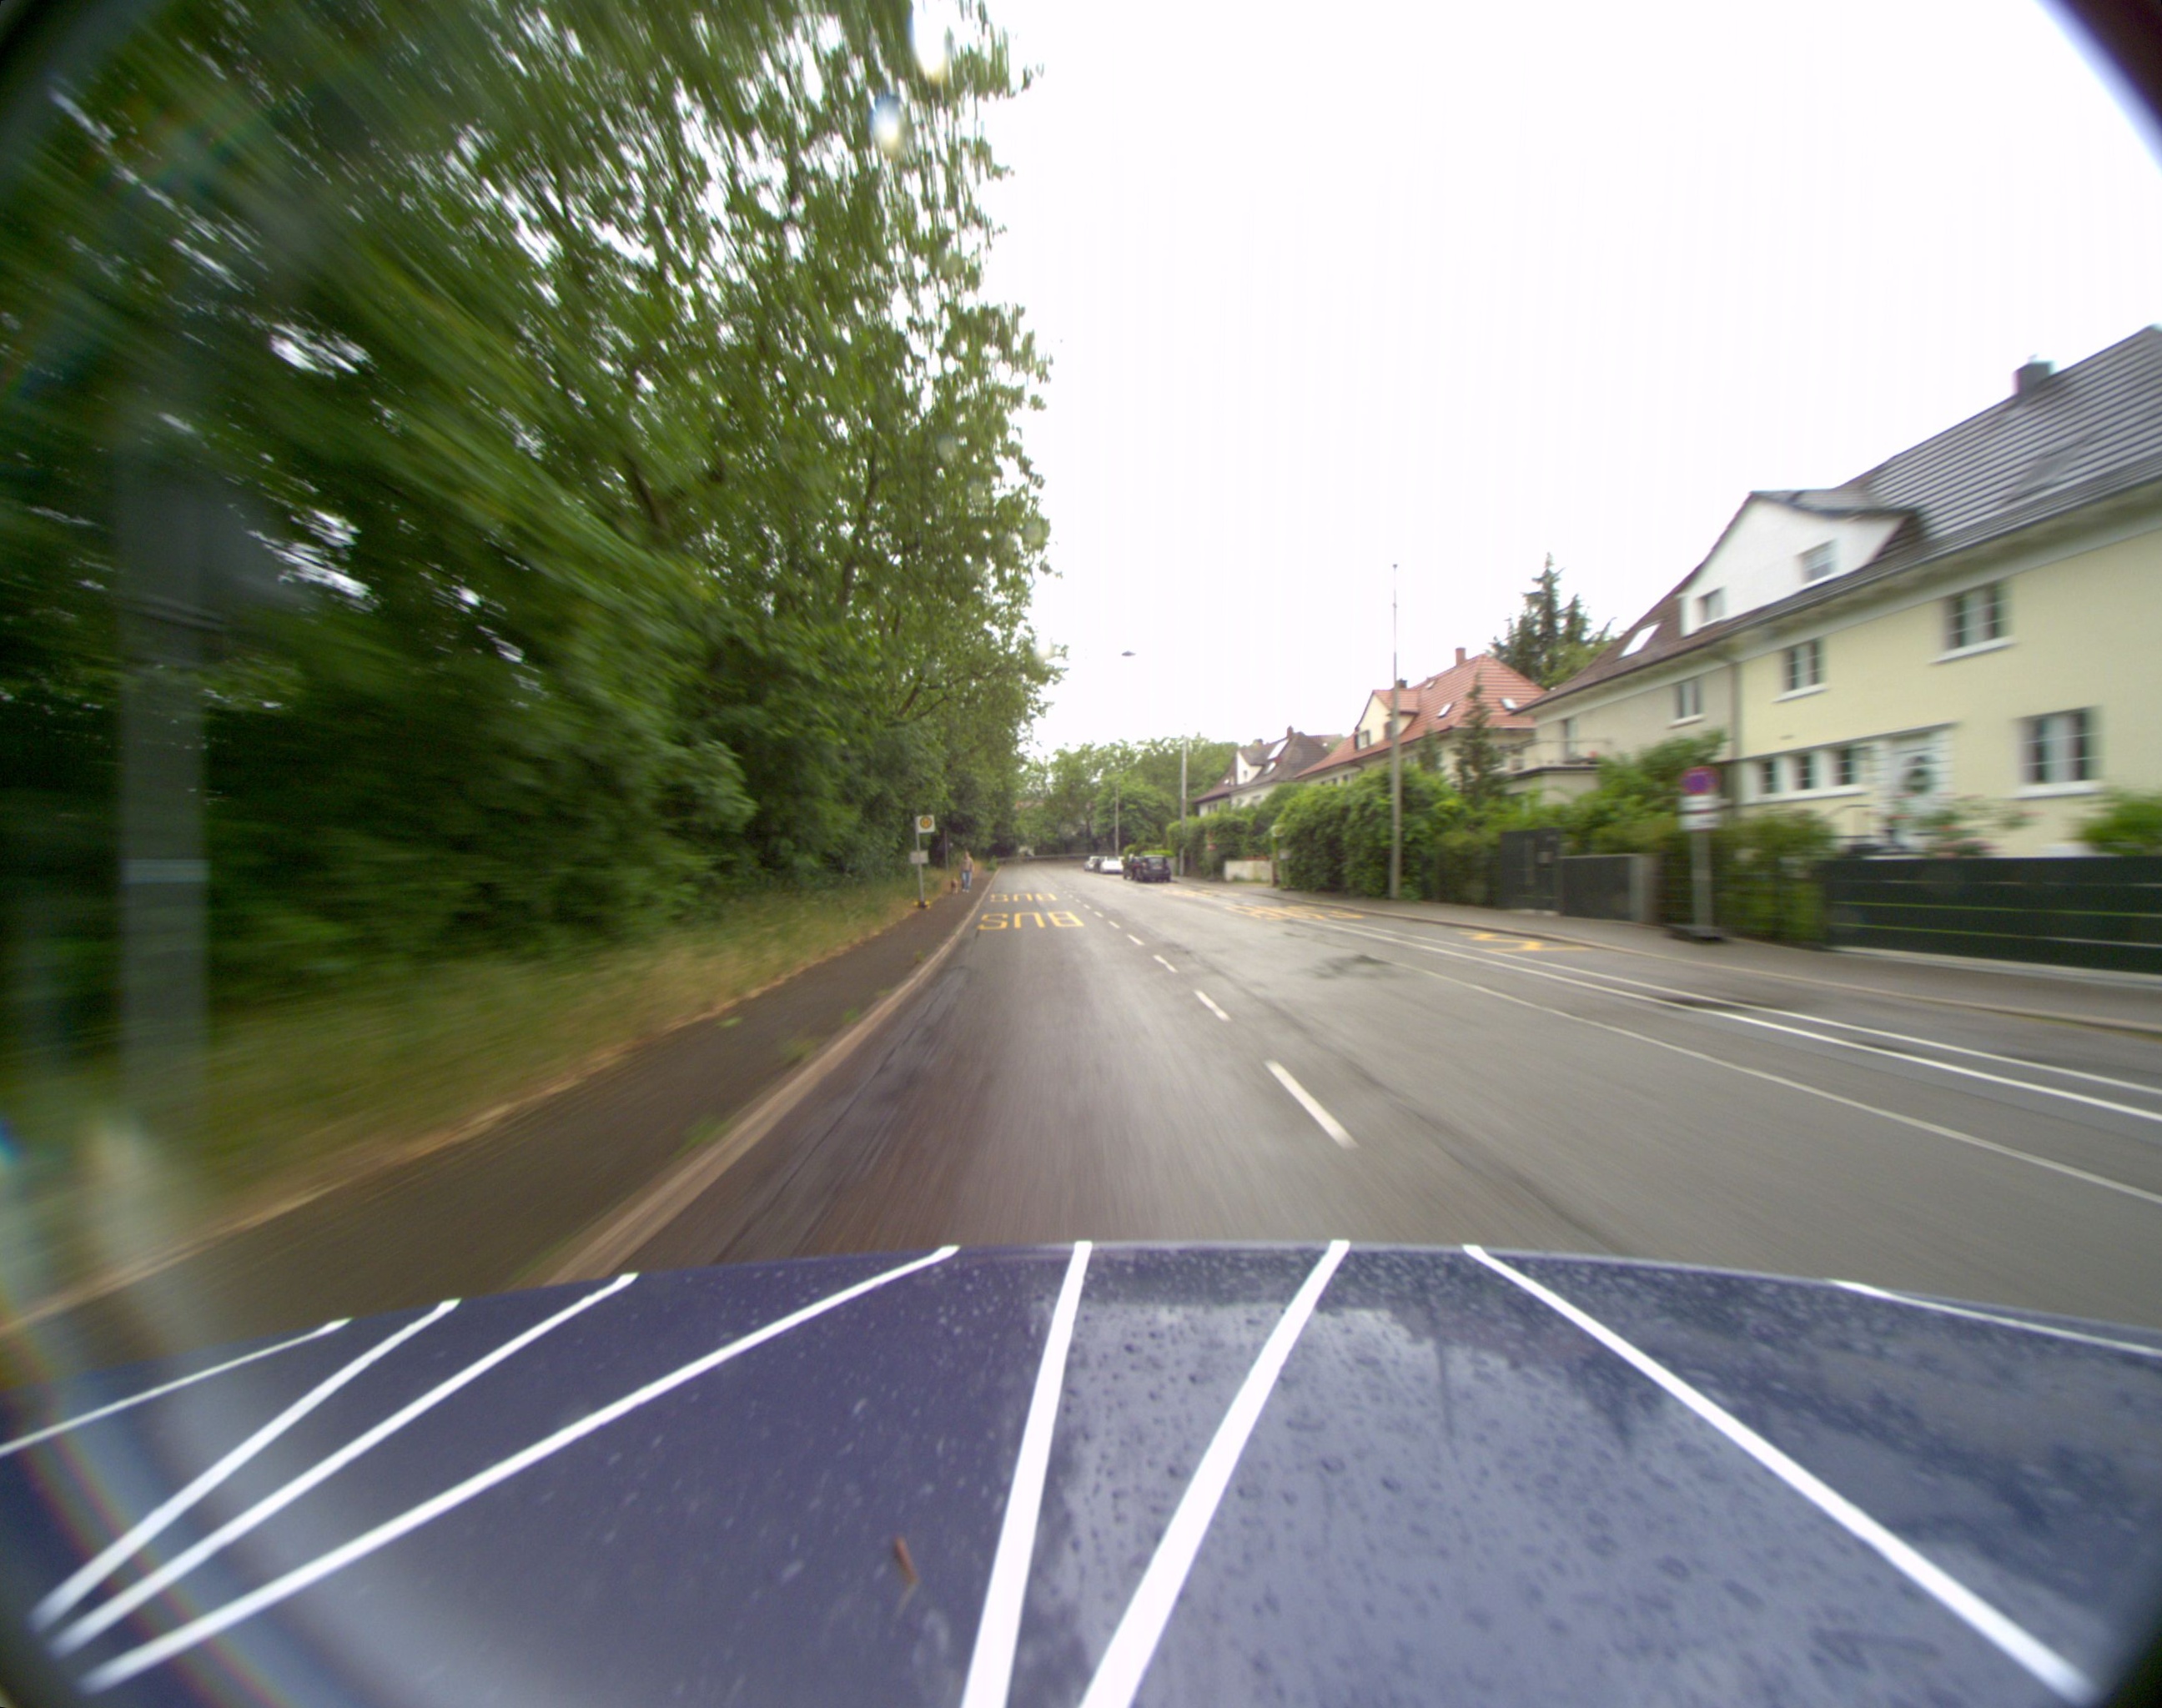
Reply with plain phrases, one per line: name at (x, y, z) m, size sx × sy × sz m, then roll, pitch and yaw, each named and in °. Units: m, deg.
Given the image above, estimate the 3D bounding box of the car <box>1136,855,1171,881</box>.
car at (4.141, 0.776, 43.957) m, size 1.523 × 1.445 × 3.028 m, roll 1°, pitch 0°, yaw -4°

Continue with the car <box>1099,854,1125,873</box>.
car at (2.536, 0.743, 63.156) m, size 1.703 × 1.459 × 3.709 m, roll -1°, pitch 1°, yaw -4°

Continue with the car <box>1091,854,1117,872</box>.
car at (2.046, 0.761, 67.476) m, size 1.703 × 1.516 × 4.420 m, roll -1°, pitch 0°, yaw -6°

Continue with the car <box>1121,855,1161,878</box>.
car at (3.771, 0.761, 48.221) m, size 1.693 × 1.410 × 4.212 m, roll 1°, pitch 0°, yaw -7°

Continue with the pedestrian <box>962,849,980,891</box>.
pedestrian at (-4.305, 0.619, 29.809) m, size 0.644 × 1.602 × 0.669 m, roll -1°, pitch 2°, yaw -6°

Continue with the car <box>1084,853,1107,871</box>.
car at (1.405, 0.792, 73.065) m, size 1.738 × 1.412 × 4.284 m, roll -2°, pitch -3°, yaw -5°
